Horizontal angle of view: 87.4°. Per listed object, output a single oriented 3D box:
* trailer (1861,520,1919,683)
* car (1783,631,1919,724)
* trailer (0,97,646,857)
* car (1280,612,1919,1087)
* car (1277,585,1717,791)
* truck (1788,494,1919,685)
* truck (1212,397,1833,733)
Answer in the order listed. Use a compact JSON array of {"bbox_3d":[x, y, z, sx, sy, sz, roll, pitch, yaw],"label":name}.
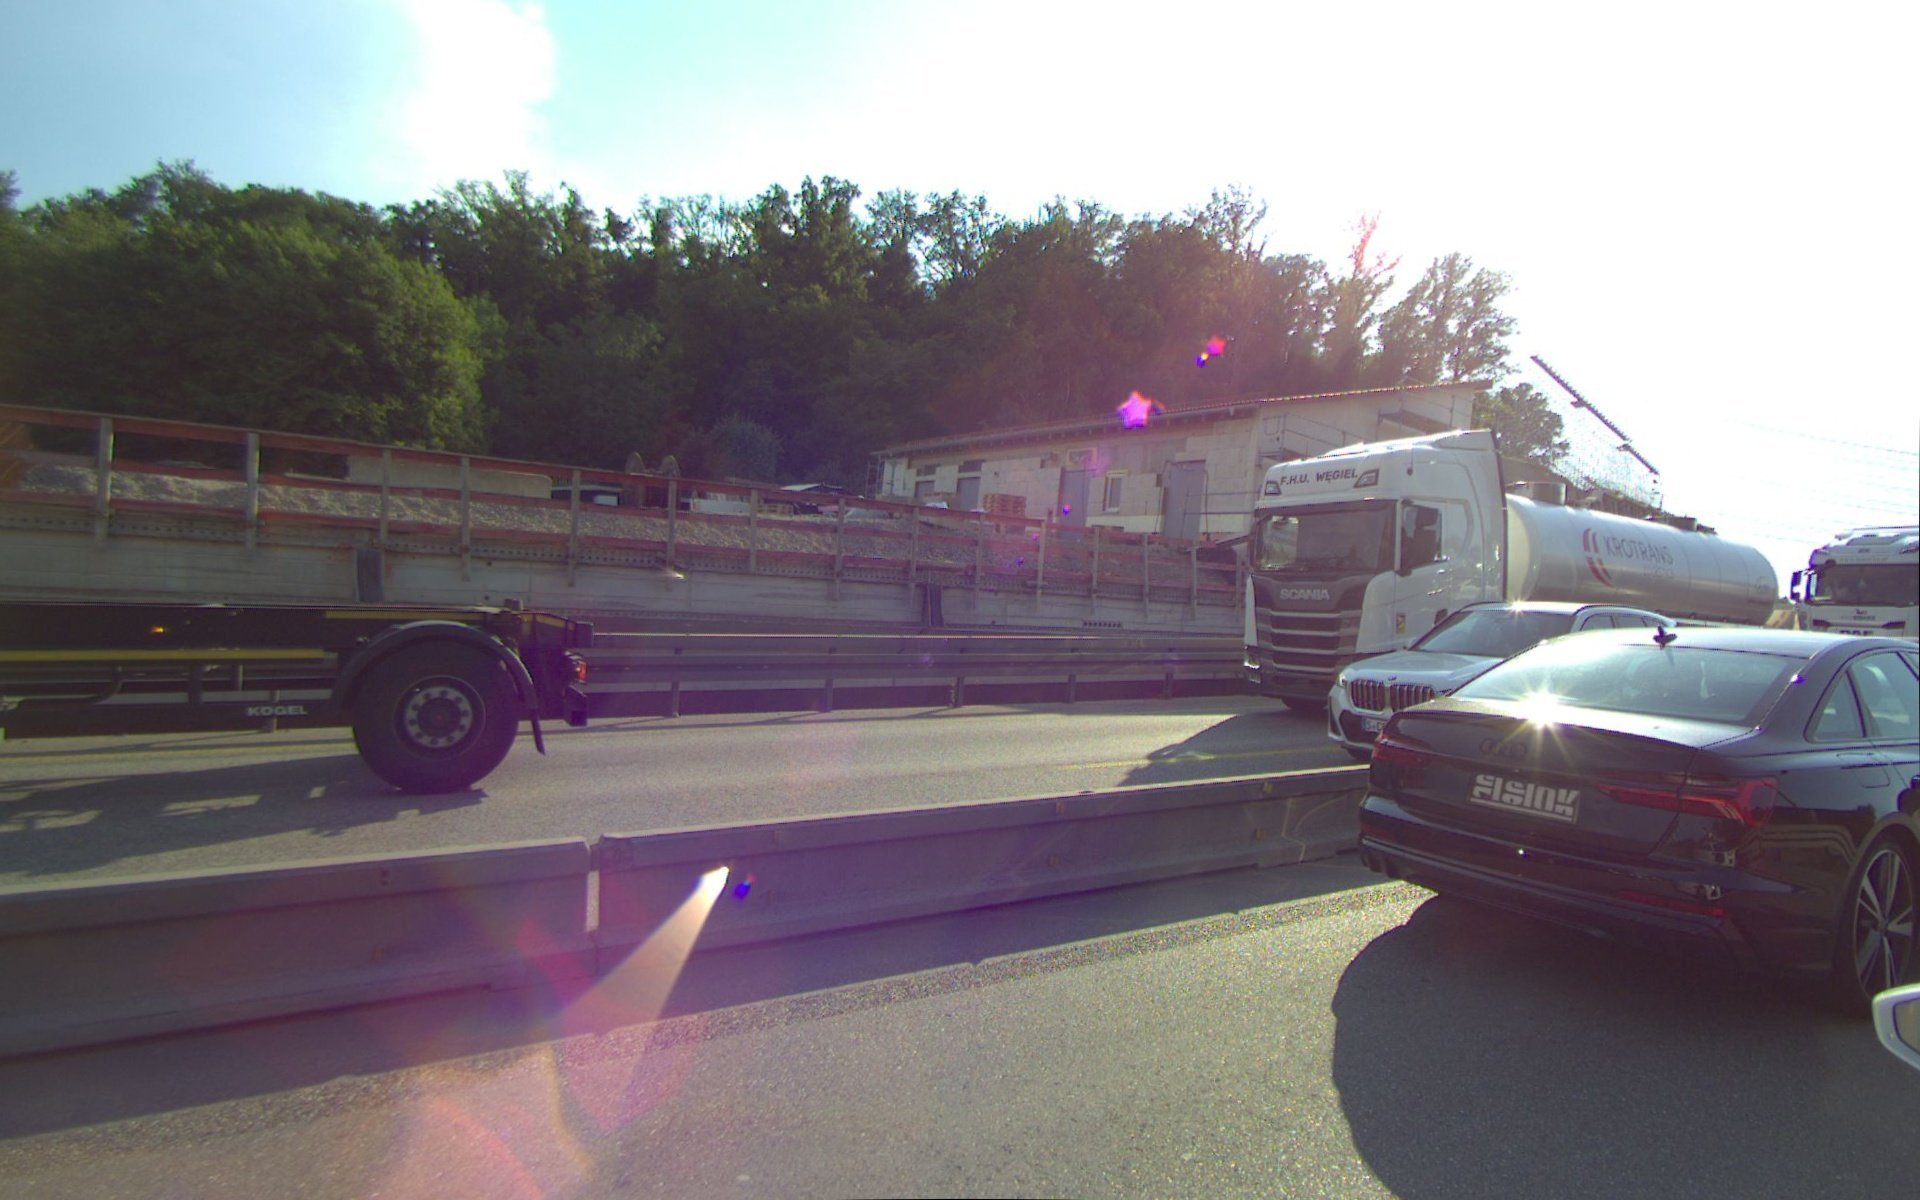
[{"bbox_3d":[30.419,0.312,29.723,12.015,4.321,2.439,3,-2,-33],"label":"trailer"},{"bbox_3d":[14.567,1.169,15.503,4.006,1.269,1.702,3,-2,-32],"label":"car"},{"bbox_3d":[-9.876,-0.892,4.601,15.809,4.259,2.689,3,-1,-30],"label":"trailer"},{"bbox_3d":[4.276,0.907,5.302,5.159,1.500,1.932,3,-2,-29],"label":"car"},{"bbox_3d":[5.489,0.817,10.113,4.507,1.669,1.837,3,-2,-30],"label":"car"},{"bbox_3d":[23.710,-0.089,25.388,6.253,4.328,2.430,3,-1,-33],"label":"truck"},{"bbox_3d":[10.199,-0.256,16.854,13.739,4.023,2.794,2,0,-32],"label":"truck"}]
